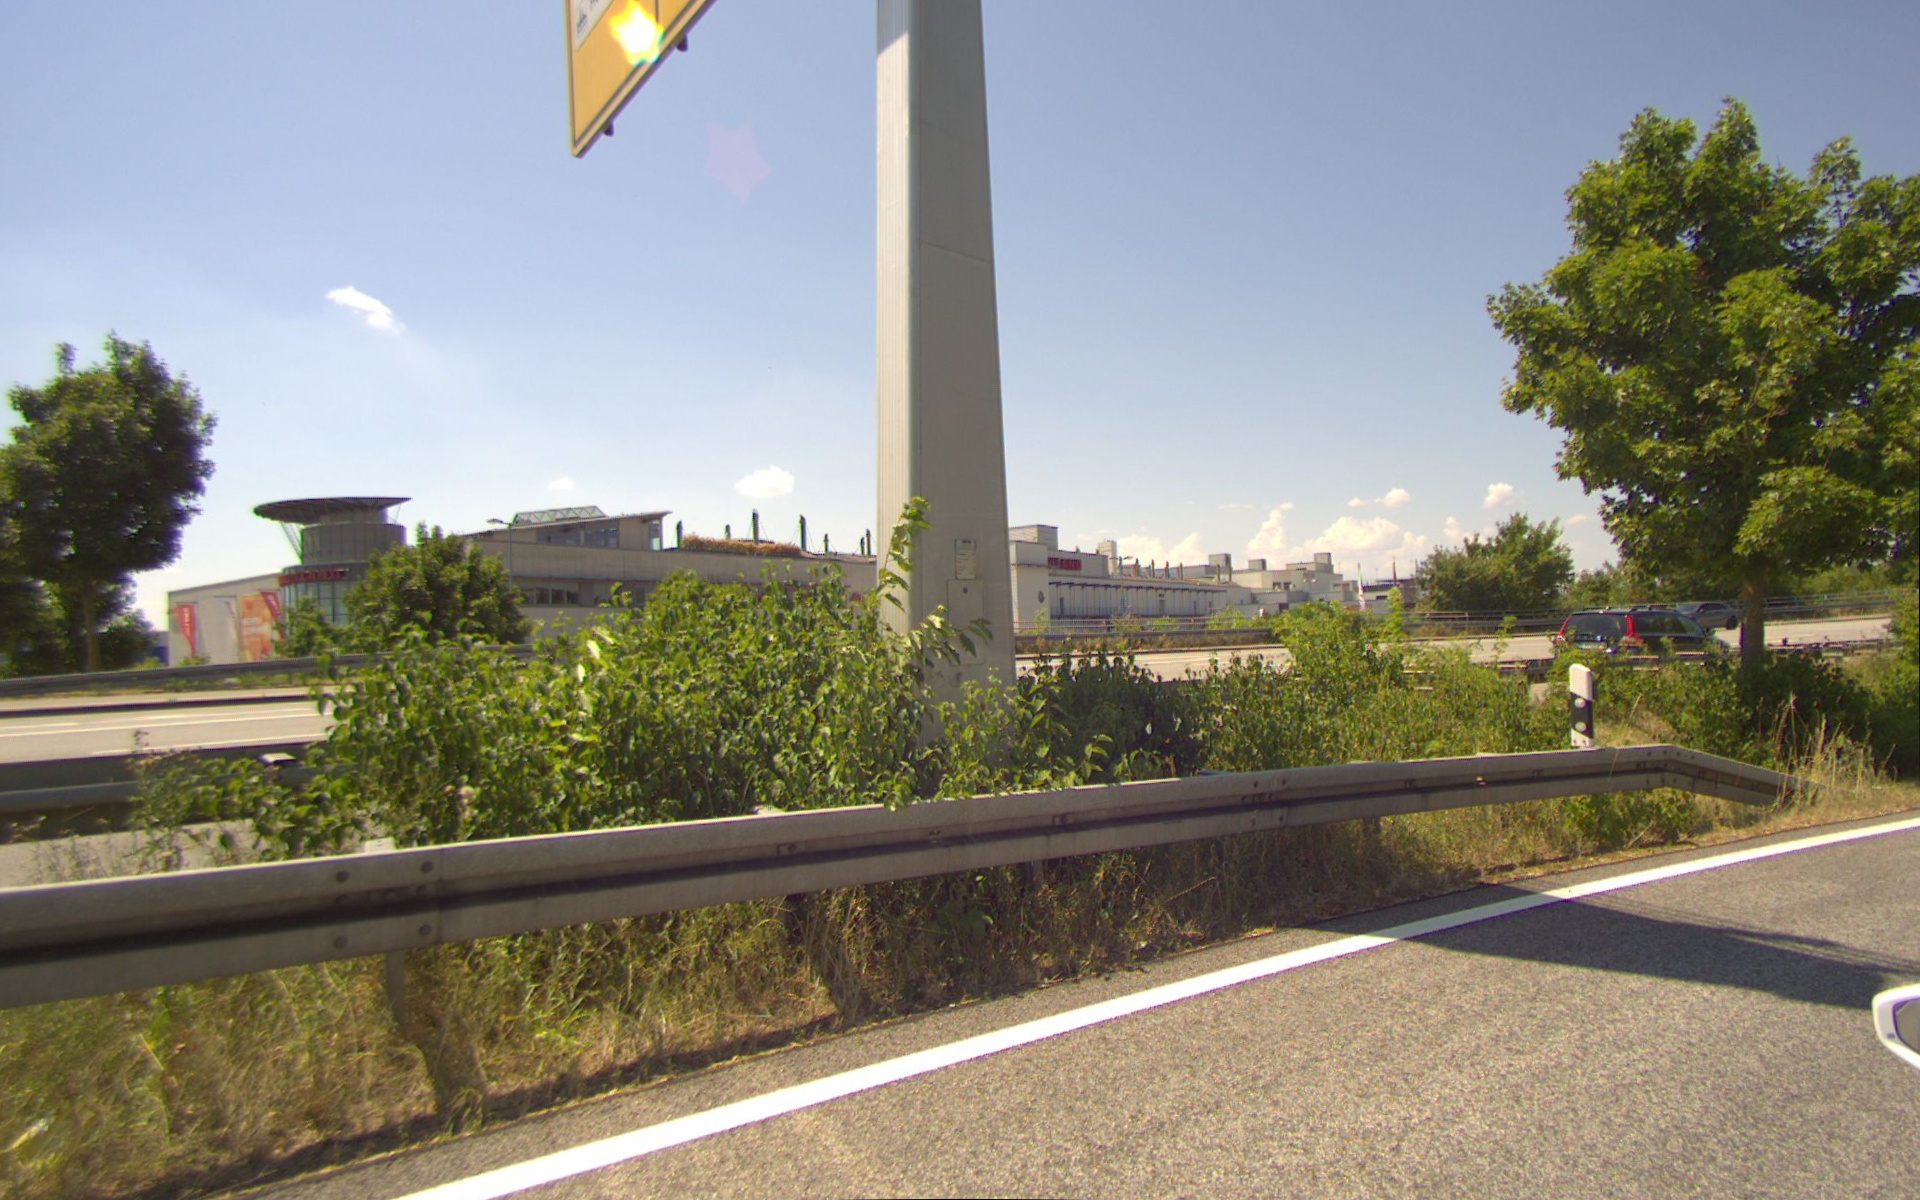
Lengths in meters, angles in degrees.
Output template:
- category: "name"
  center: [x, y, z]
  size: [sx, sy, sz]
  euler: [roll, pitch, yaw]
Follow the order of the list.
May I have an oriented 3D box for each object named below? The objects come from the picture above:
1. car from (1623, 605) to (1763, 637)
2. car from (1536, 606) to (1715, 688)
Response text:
- category: "car"
  center: [35.978, 1.047, 49.362]
  size: [5.731, 1.461, 2.155]
  euler: [1, -1, -9]
- category: "car"
  center: [14.189, 0.985, 21.316]
  size: [4.691, 1.565, 1.719]
  euler: [2, -3, -38]
